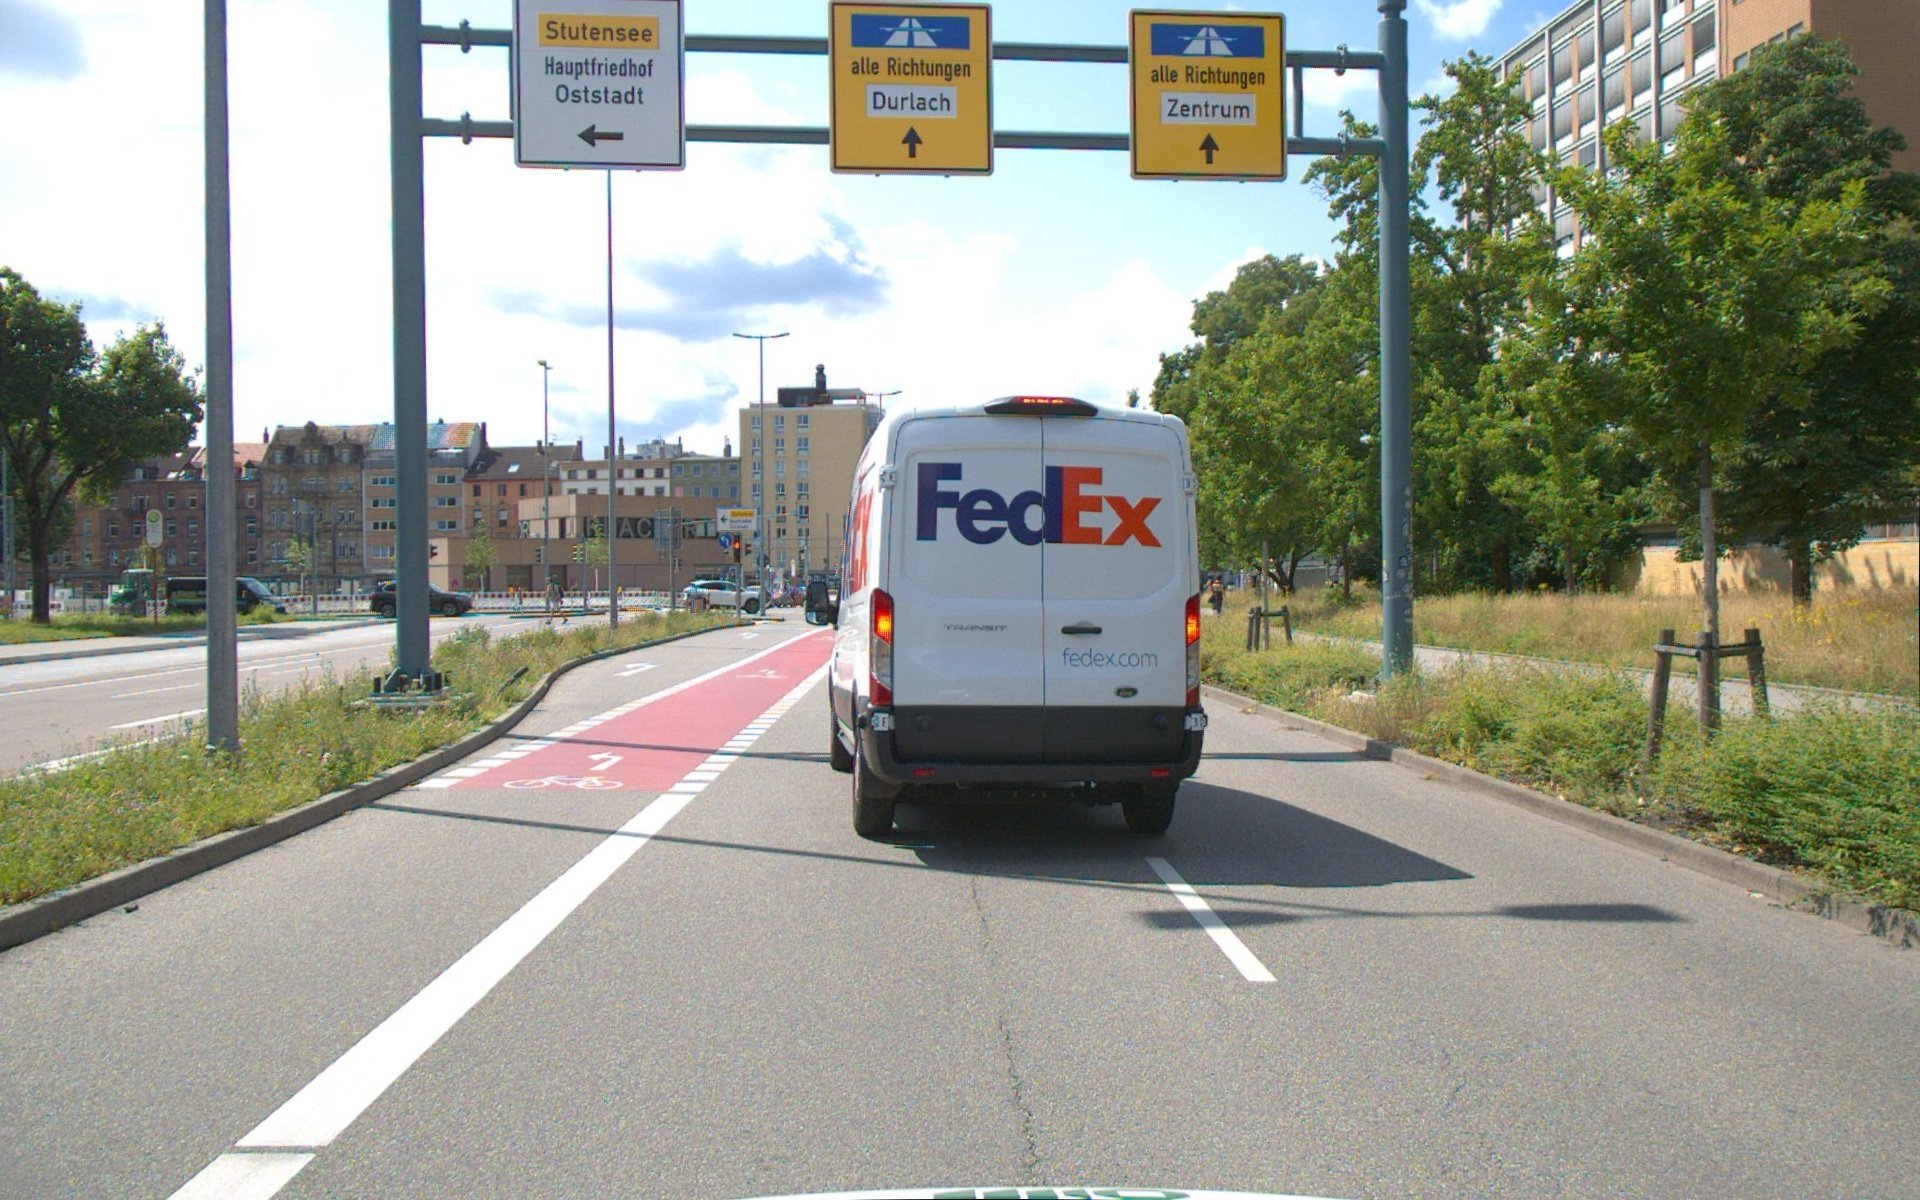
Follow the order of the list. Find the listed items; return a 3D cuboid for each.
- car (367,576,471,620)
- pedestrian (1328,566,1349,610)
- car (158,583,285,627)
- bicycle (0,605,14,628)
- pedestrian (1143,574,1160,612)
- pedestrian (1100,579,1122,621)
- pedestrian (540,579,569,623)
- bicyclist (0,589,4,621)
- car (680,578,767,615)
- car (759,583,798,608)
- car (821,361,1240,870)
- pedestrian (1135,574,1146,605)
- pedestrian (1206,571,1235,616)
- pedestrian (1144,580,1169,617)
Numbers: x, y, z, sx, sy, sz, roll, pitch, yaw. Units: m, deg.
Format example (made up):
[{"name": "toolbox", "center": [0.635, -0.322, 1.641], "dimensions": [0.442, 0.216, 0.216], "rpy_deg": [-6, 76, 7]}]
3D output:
[{"name": "car", "center": [-26.601, -0.094, 81.437], "dimensions": [4.541, 2.049, 2.096], "rpy_deg": [-1, 0, -7]}, {"name": "pedestrian", "center": [18.120, -0.576, 79.123], "dimensions": [0.828, 2.094, 0.740], "rpy_deg": [0, 1, 26]}, {"name": "car", "center": [-33.705, 0.205, 75.609], "dimensions": [4.912, 1.911, 1.927], "rpy_deg": [-1, 1, -6]}, {"name": "bicycle", "center": [-45.478, 0.777, 77.512], "dimensions": [1.885, 1.048, 0.546], "rpy_deg": [-1, 1, -10]}, {"name": "pedestrian", "center": [9.810, -0.379, 84.643], "dimensions": [0.667, 1.925, 0.573], "rpy_deg": [0, 1, 42]}, {"name": "pedestrian", "center": [7.140, -0.003, 78.068], "dimensions": [0.931, 1.925, 0.773], "rpy_deg": [0, 0, -3]}, {"name": "pedestrian", "center": [-14.875, 0.037, 60.682], "dimensions": [0.866, 1.587, 0.548], "rpy_deg": [-1, 1, -37]}, {"name": "bicyclist", "center": [-45.458, 0.234, 77.515], "dimensions": [0.950, 1.500, 0.550], "rpy_deg": [-1, 0, -10]}, {"name": "car", "center": [-11.867, -0.175, 83.257], "dimensions": [4.274, 1.825, 1.997], "rpy_deg": [-1, 0, -7]}, {"name": "car", "center": [-12.564, -0.275, 114.783], "dimensions": [1.839, 1.680, 4.003], "rpy_deg": [-1, 0, 6]}, {"name": "car", "center": [0.160, 0.033, 11.735], "dimensions": [2.099, 2.699, 5.696], "rpy_deg": [-1, 1, -6]}, {"name": "pedestrian", "center": [11.290, -0.666, 103.316], "dimensions": [0.562, 1.925, 0.679], "rpy_deg": [0, 0, -3]}, {"name": "pedestrian", "center": [9.027, -0.227, 57.364], "dimensions": [0.828, 1.565, 0.834], "rpy_deg": [-1, 1, -3]}, {"name": "pedestrian", "center": [7.645, -0.063, 64.334], "dimensions": [0.828, 1.413, 0.740], "rpy_deg": [-1, 1, -3]}]
